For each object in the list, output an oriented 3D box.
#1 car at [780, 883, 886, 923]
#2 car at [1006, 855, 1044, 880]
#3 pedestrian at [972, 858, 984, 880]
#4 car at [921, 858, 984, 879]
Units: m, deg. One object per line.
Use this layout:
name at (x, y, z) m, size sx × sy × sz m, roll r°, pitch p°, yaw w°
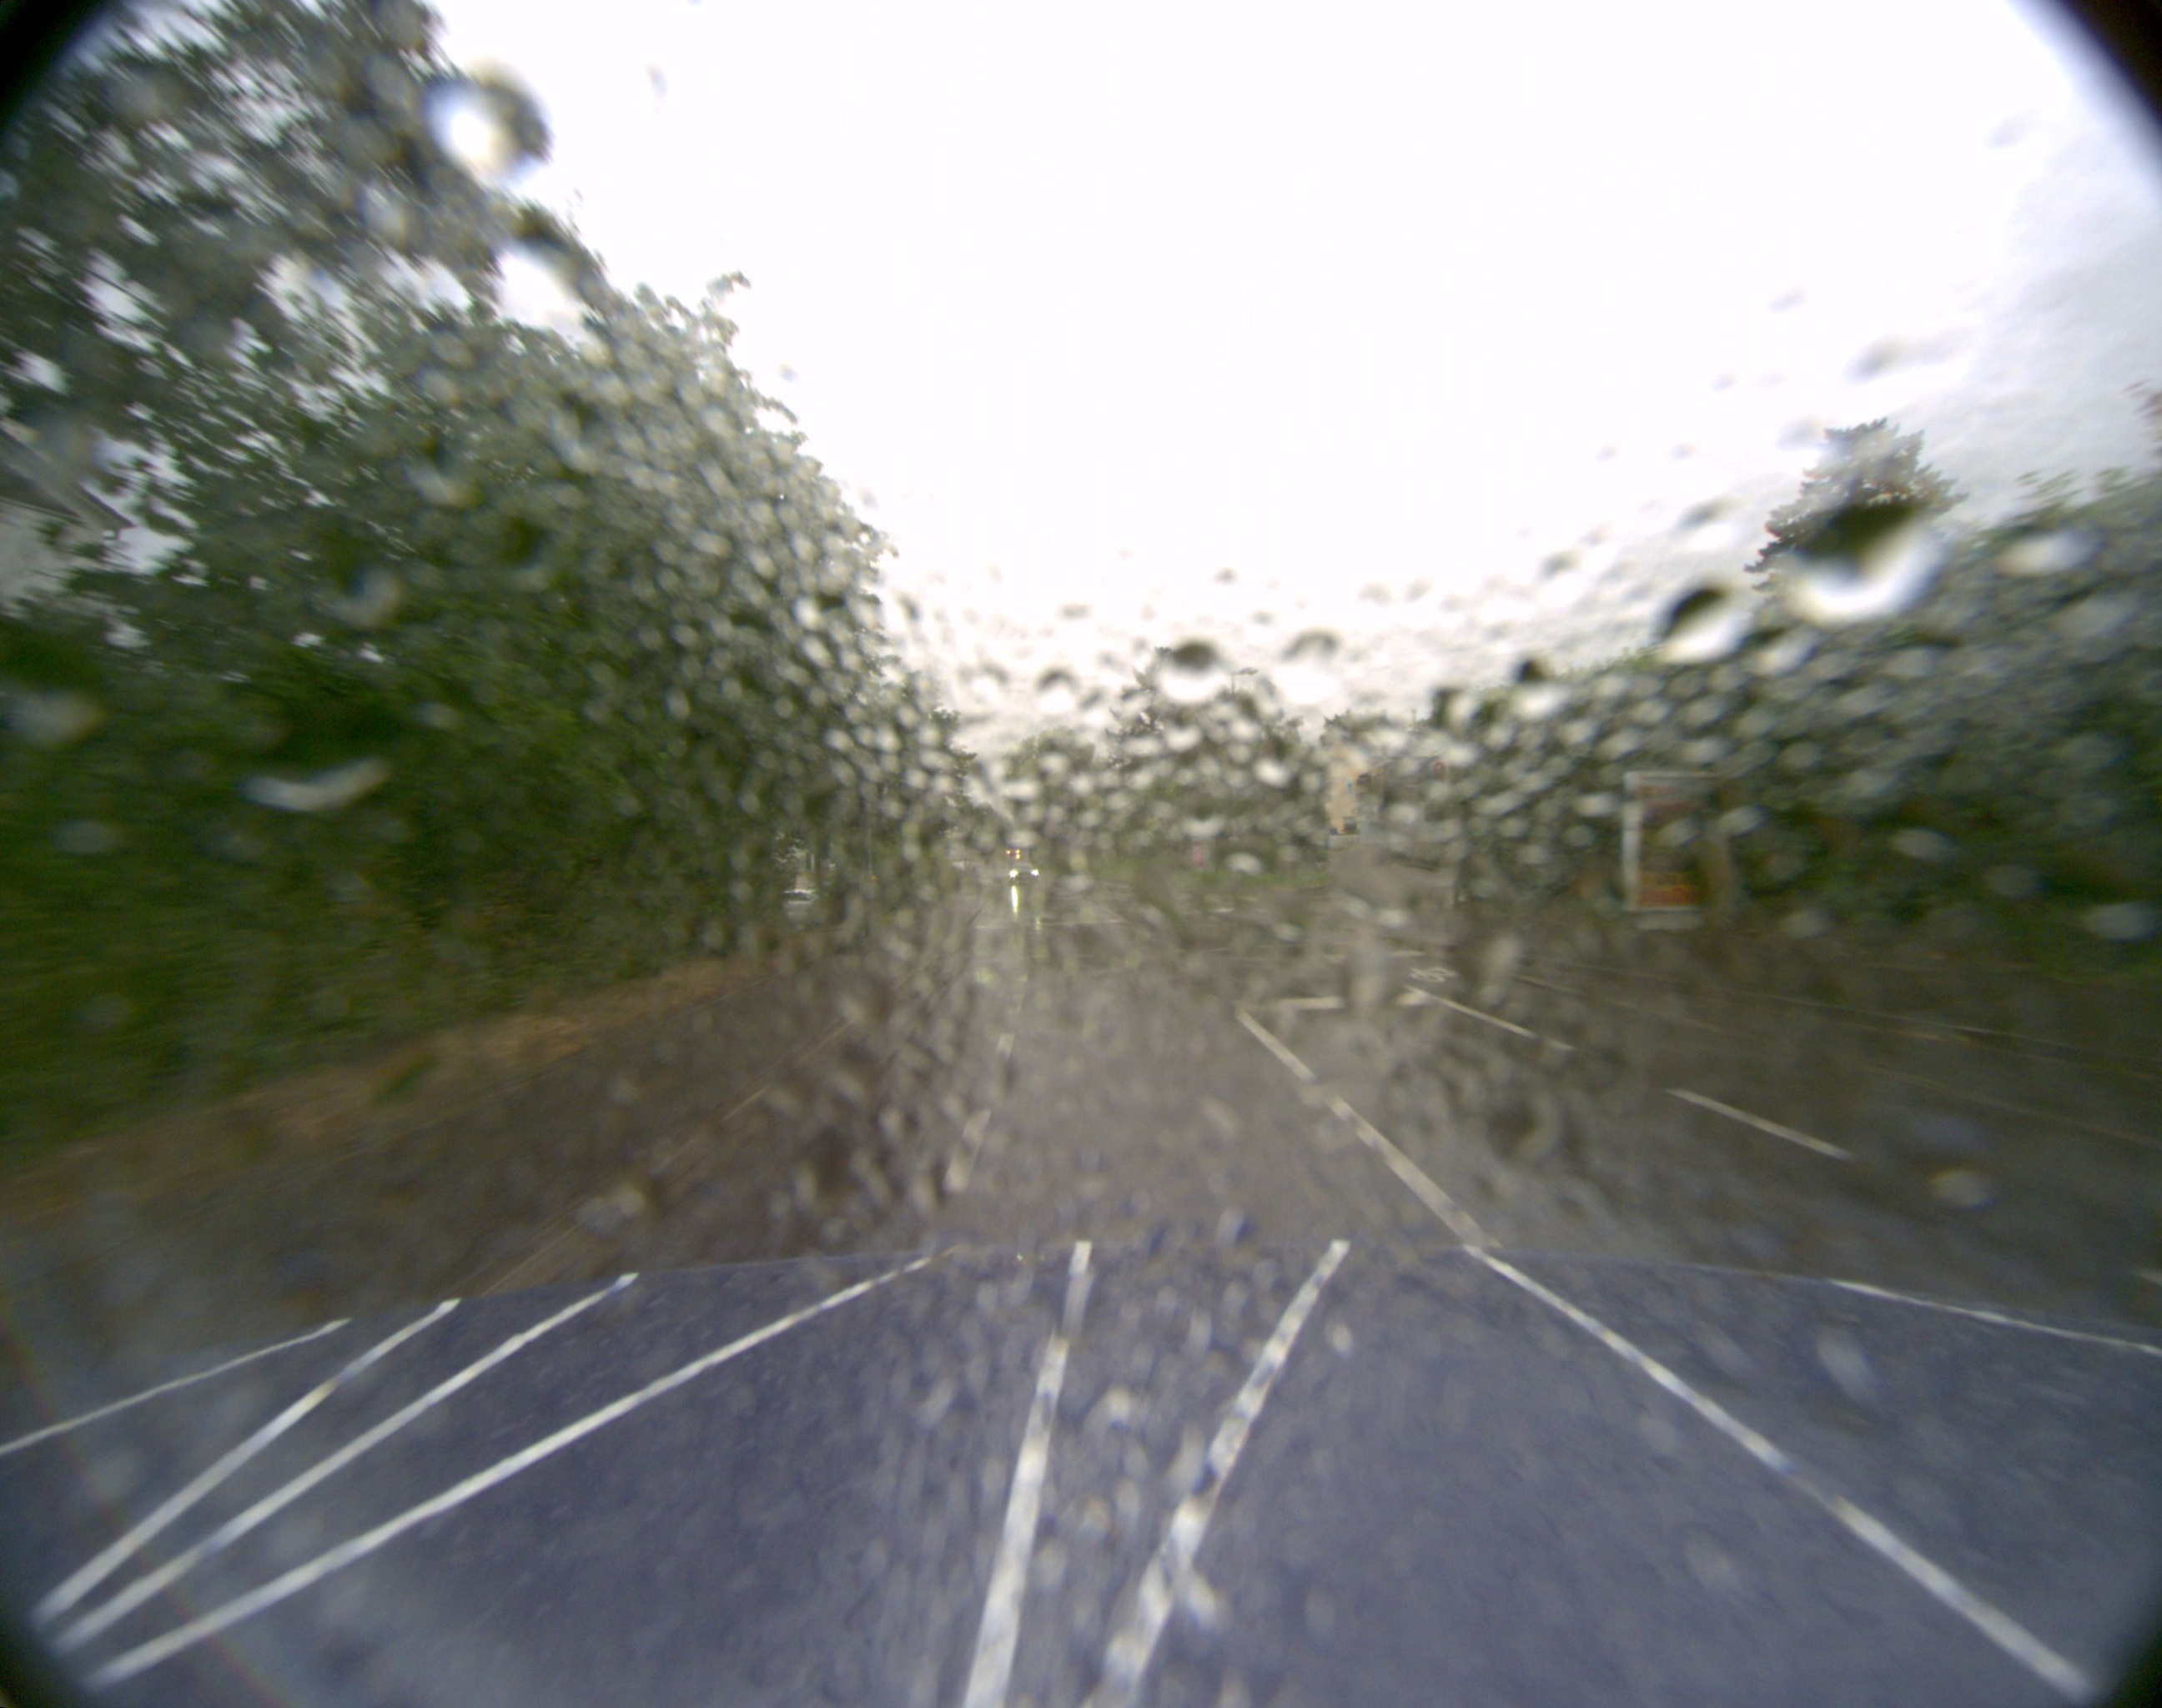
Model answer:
car at (-10.838, 2.136, 33.473) m, size 3.998 × 1.419 × 1.999 m, roll -3°, pitch 1°, yaw -4°
car at (-3.900, 0.901, 52.220) m, size 1.801 × 1.543 × 3.995 m, roll -3°, pitch 0°, yaw -15°
pedestrian at (-7.040, 1.006, 51.815) m, size 0.771 × 1.517 × 0.872 m, roll 0°, pitch 0°, yaw -6°
car at (-10.280, 1.125, 60.964) m, size 4.811 × 1.406 × 1.807 m, roll -2°, pitch 1°, yaw -6°
